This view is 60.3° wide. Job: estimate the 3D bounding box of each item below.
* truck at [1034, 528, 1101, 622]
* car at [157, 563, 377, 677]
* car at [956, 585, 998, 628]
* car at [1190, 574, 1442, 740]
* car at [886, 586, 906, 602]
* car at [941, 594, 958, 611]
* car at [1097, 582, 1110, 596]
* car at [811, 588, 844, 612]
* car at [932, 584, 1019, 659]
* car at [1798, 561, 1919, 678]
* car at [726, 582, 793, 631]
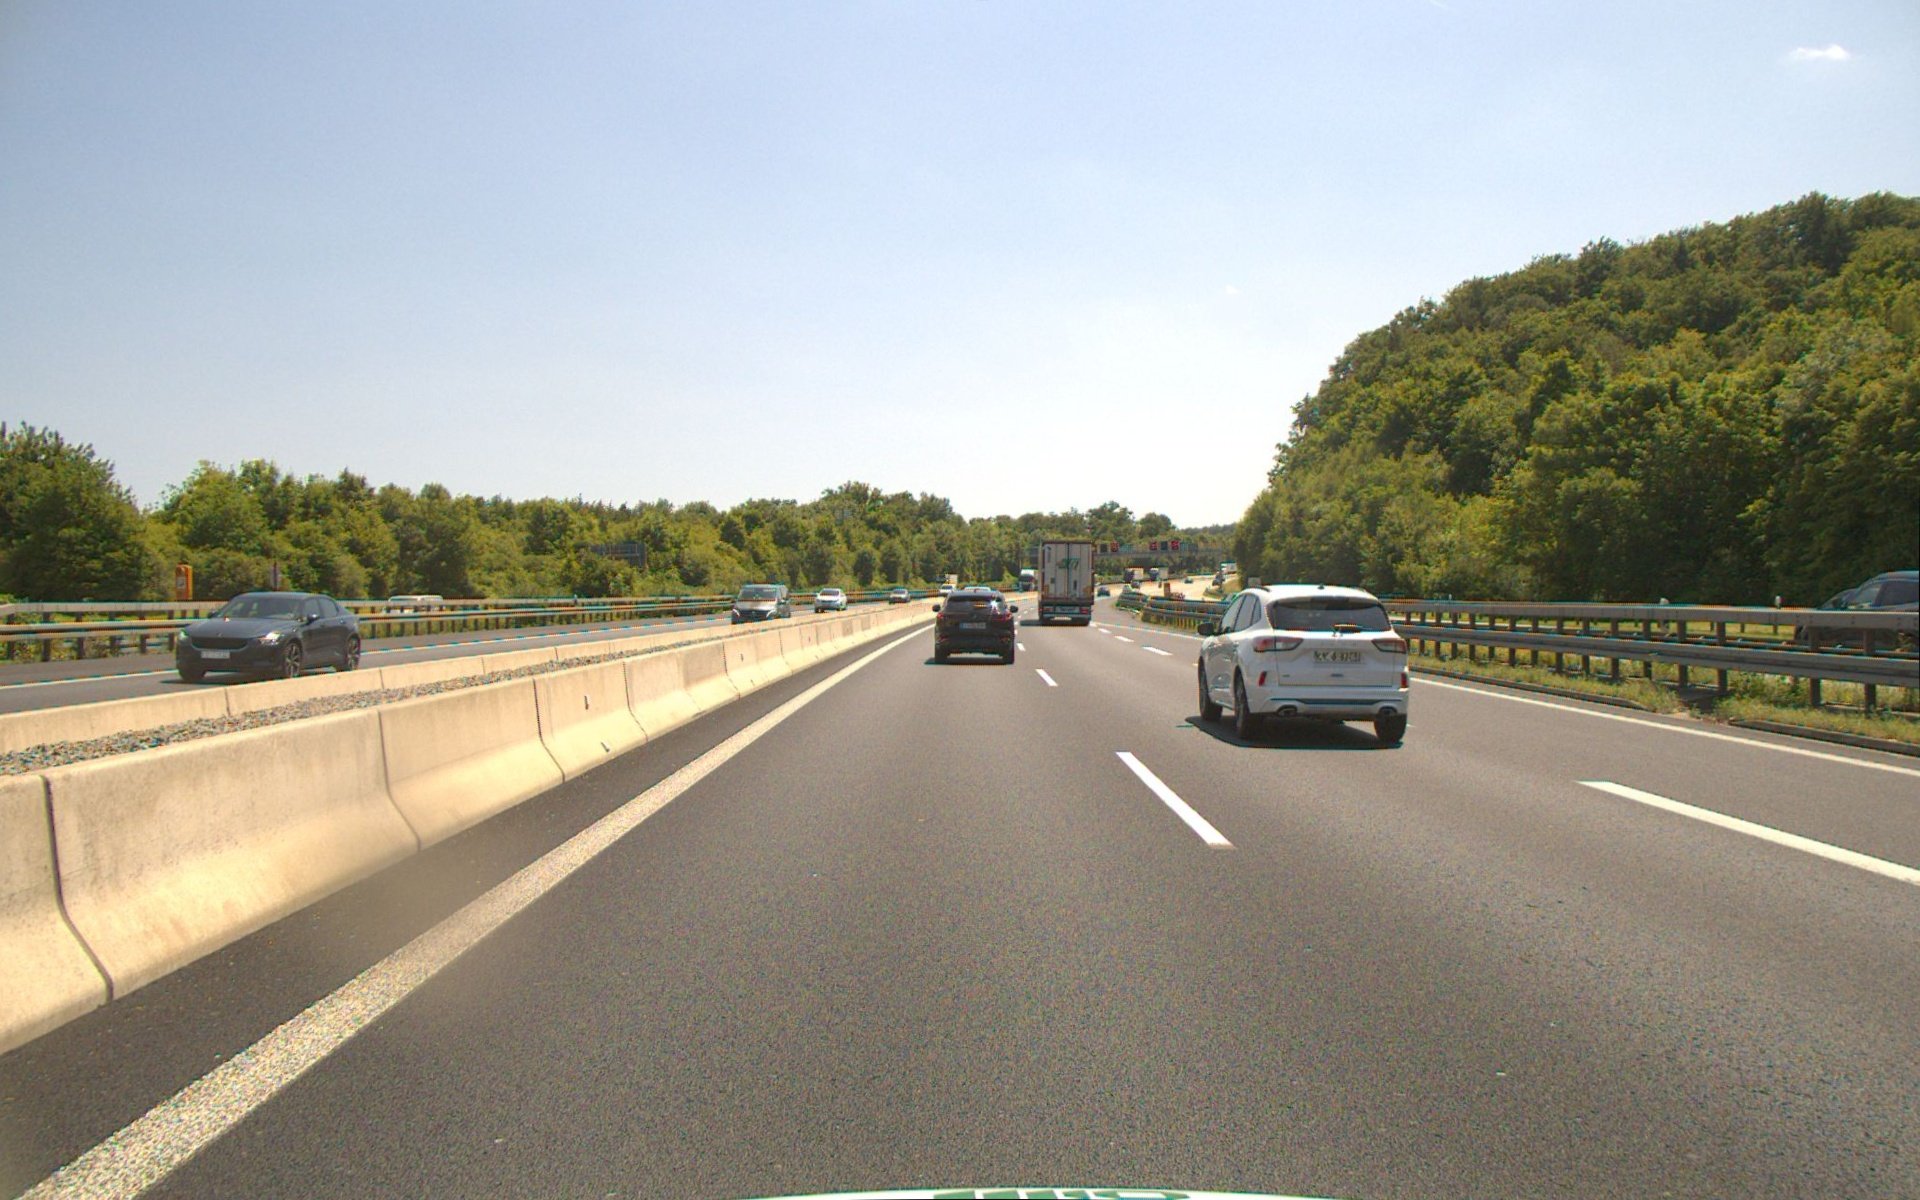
[{"bbox_3d":[5.380,-1.156,84.729,2.969,4.496,12.020,0,0,2],"label":"truck"},{"bbox_3d":[-12.124,0.331,29.330,1.953,1.856,4.903,0,0,-2],"label":"car"},{"bbox_3d":[0.900,0.299,85.245,1.952,2.048,4.002,-3,0,3],"label":"car"},{"bbox_3d":[3.950,0.591,19.151,1.953,1.691,4.467,0,0,0],"label":"car"},{"bbox_3d":[-6.289,-0.622,163.274,1.692,1.559,4.262,1,0,2],"label":"car"},{"bbox_3d":[-1.304,0.283,205.721,1.952,2.049,5.380,0,0,1],"label":"car"},{"bbox_3d":[22.146,-1.659,255.826,1.951,2.049,4.002,0,0,4],"label":"car"},{"bbox_3d":[-9.377,-0.006,117.432,1.750,1.660,4.931,0,0,1],"label":"car"},{"bbox_3d":[0.299,0.474,37.716,1.744,1.605,3.998,1,0,-3],"label":"car"},{"bbox_3d":[14.813,0.283,24.472,1.953,1.691,5.626,0,0,0],"label":"car"},{"bbox_3d":[-8.042,0.276,66.786,1.993,1.890,5.375,0,0,1],"label":"car"}]
